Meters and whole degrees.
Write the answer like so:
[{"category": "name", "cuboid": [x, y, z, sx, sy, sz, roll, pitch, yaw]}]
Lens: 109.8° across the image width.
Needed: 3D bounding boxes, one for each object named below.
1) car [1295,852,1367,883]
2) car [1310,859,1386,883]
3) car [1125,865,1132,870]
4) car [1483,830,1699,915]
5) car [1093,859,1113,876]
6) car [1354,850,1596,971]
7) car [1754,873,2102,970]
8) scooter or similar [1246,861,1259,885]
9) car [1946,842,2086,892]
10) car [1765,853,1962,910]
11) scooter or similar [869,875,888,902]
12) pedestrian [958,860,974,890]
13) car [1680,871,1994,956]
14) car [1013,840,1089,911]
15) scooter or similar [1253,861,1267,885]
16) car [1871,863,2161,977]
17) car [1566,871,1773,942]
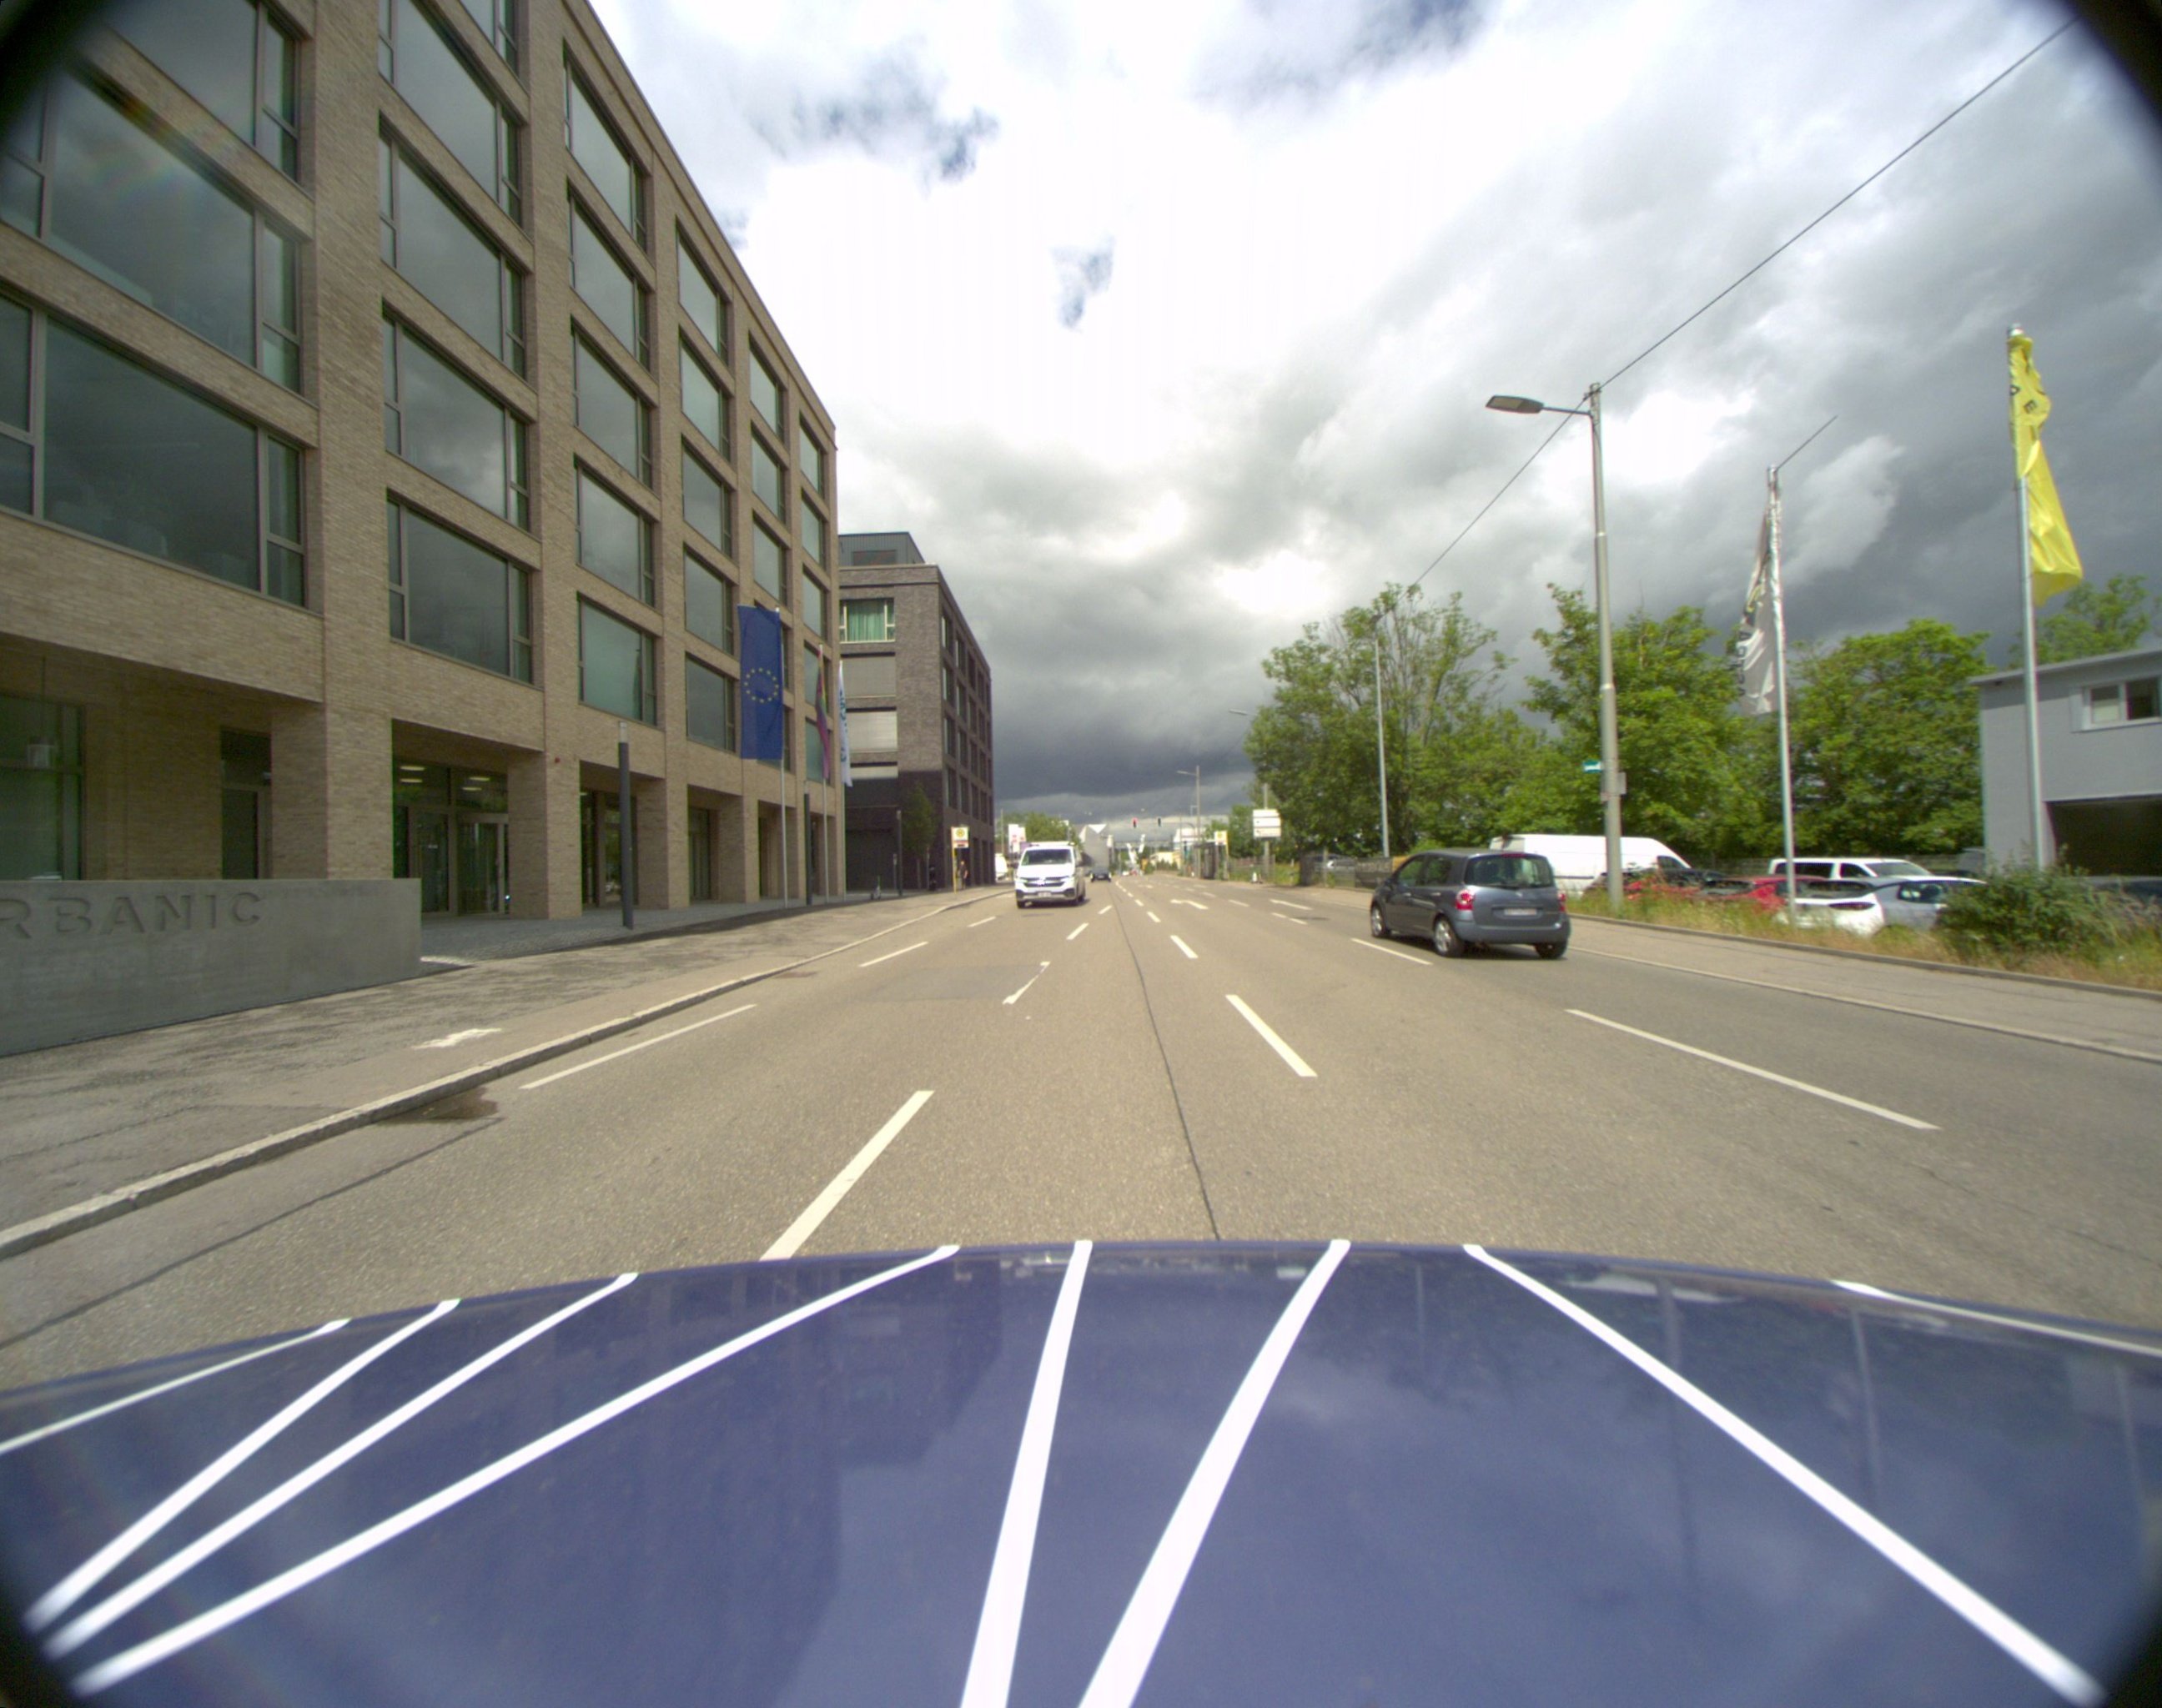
[{"category": "car", "cuboid": [17.474, 0.920, 53.221, 4.289, 2.002, 2.140, -1, 0, -5]}, {"category": "car", "cuboid": [17.450, 1.113, 49.758, 4.289, 1.478, 1.910, -1, 0, -6]}, {"category": "car", "cuboid": [13.301, 3.865, 211.476, 1.801, 1.368, 4.226, 0, -1, 2]}, {"category": "car", "cuboid": [13.357, 0.496, 20.122, 4.171, 2.001, 2.199, -2, -1, -1]}, {"category": "car", "cuboid": [1.994, 1.239, 69.689, 1.726, 1.394, 4.207, -1, 1, 1]}, {"category": "car", "cuboid": [5.929, 0.751, 12.052, 1.748, 1.586, 4.042, 1, 0, 0]}, {"category": "car", "cuboid": [13.512, 1.045, 12.323, 3.553, 1.317, 1.711, -2, 1, 5]}, {"category": "scooter or similar", "cuboid": [9.783, 1.073, 43.281, 0.535, 1.254, 1.474, -3, -1, 19]}, {"category": "car", "cuboid": [34.608, 0.450, 28.136, 4.177, 1.718, 1.840, -1, 0, -17]}, {"category": "car", "cuboid": [26.413, 0.882, 25.960, 1.841, 1.718, 4.918, -1, -1, 4]}, {"category": "scooter or similar", "cuboid": [-8.979, 1.501, 33.708, 0.428, 1.146, 1.404, -1, 0, 1]}, {"category": "pedestrian", "cuboid": [-6.763, 1.250, 44.762, 0.685, 1.717, 0.962, -2, -1, 1]}, {"category": "car", "cuboid": [14.469, 1.109, 14.774, 4.041, 1.378, 1.929, -2, 1, 5]}, {"category": "car", "cuboid": [-0.876, 0.628, 24.682, 1.935, 2.078, 4.209, -1, 0, 5]}, {"category": "scooter or similar", "cuboid": [9.826, 1.035, 41.780, 0.536, 1.258, 1.472, -3, -1, 7]}, {"category": "car", "cuboid": [13.352, 0.806, 10.059, 3.725, 1.204, 1.928, -2, 1, 1]}, {"category": "car", "cuboid": [13.390, 1.179, 17.459, 3.344, 1.401, 1.727, -2, 1, 5]}]
